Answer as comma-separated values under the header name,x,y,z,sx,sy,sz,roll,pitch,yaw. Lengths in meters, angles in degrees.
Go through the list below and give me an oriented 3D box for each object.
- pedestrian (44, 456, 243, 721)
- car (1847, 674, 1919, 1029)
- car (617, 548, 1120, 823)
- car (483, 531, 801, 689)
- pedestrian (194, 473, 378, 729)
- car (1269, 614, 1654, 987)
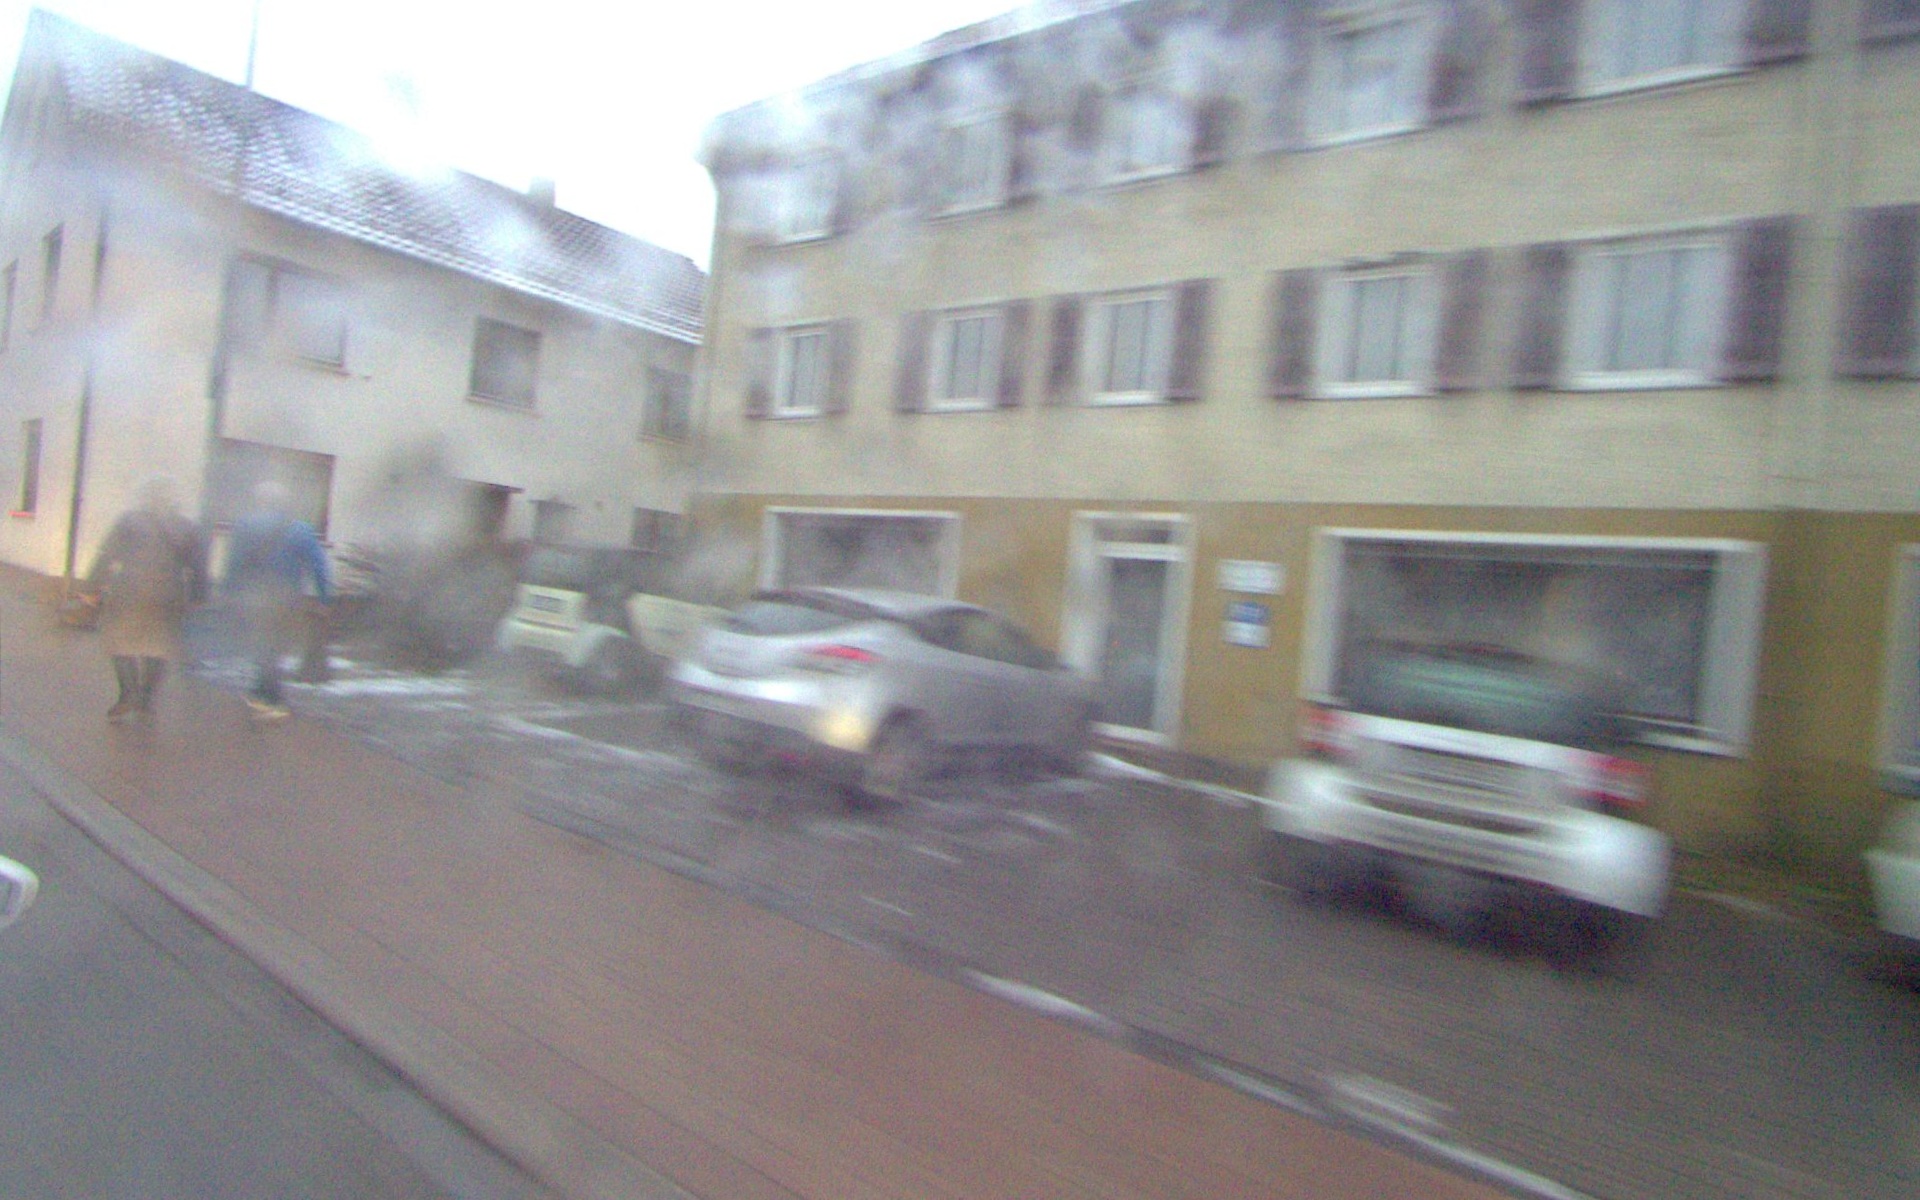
name,x,y,z,sx,sy,sz,roll,pitch,yaw
pedestrian,-5.699,-0.094,7.021,0.978,1.689,0.865,7,3,40
car,5.039,1.202,4.128,1.525,1.567,2.584,7,1,32
car,-0.448,0.583,7.896,1.723,1.492,3.899,6,0,35
car,-3.585,0.160,11.798,1.561,1.493,3.218,6,1,32
pedestrian,-5.039,-0.011,7.514,0.958,1.757,0.846,7,3,40
car,3.182,0.973,6.078,1.525,1.493,3.064,6,1,35
